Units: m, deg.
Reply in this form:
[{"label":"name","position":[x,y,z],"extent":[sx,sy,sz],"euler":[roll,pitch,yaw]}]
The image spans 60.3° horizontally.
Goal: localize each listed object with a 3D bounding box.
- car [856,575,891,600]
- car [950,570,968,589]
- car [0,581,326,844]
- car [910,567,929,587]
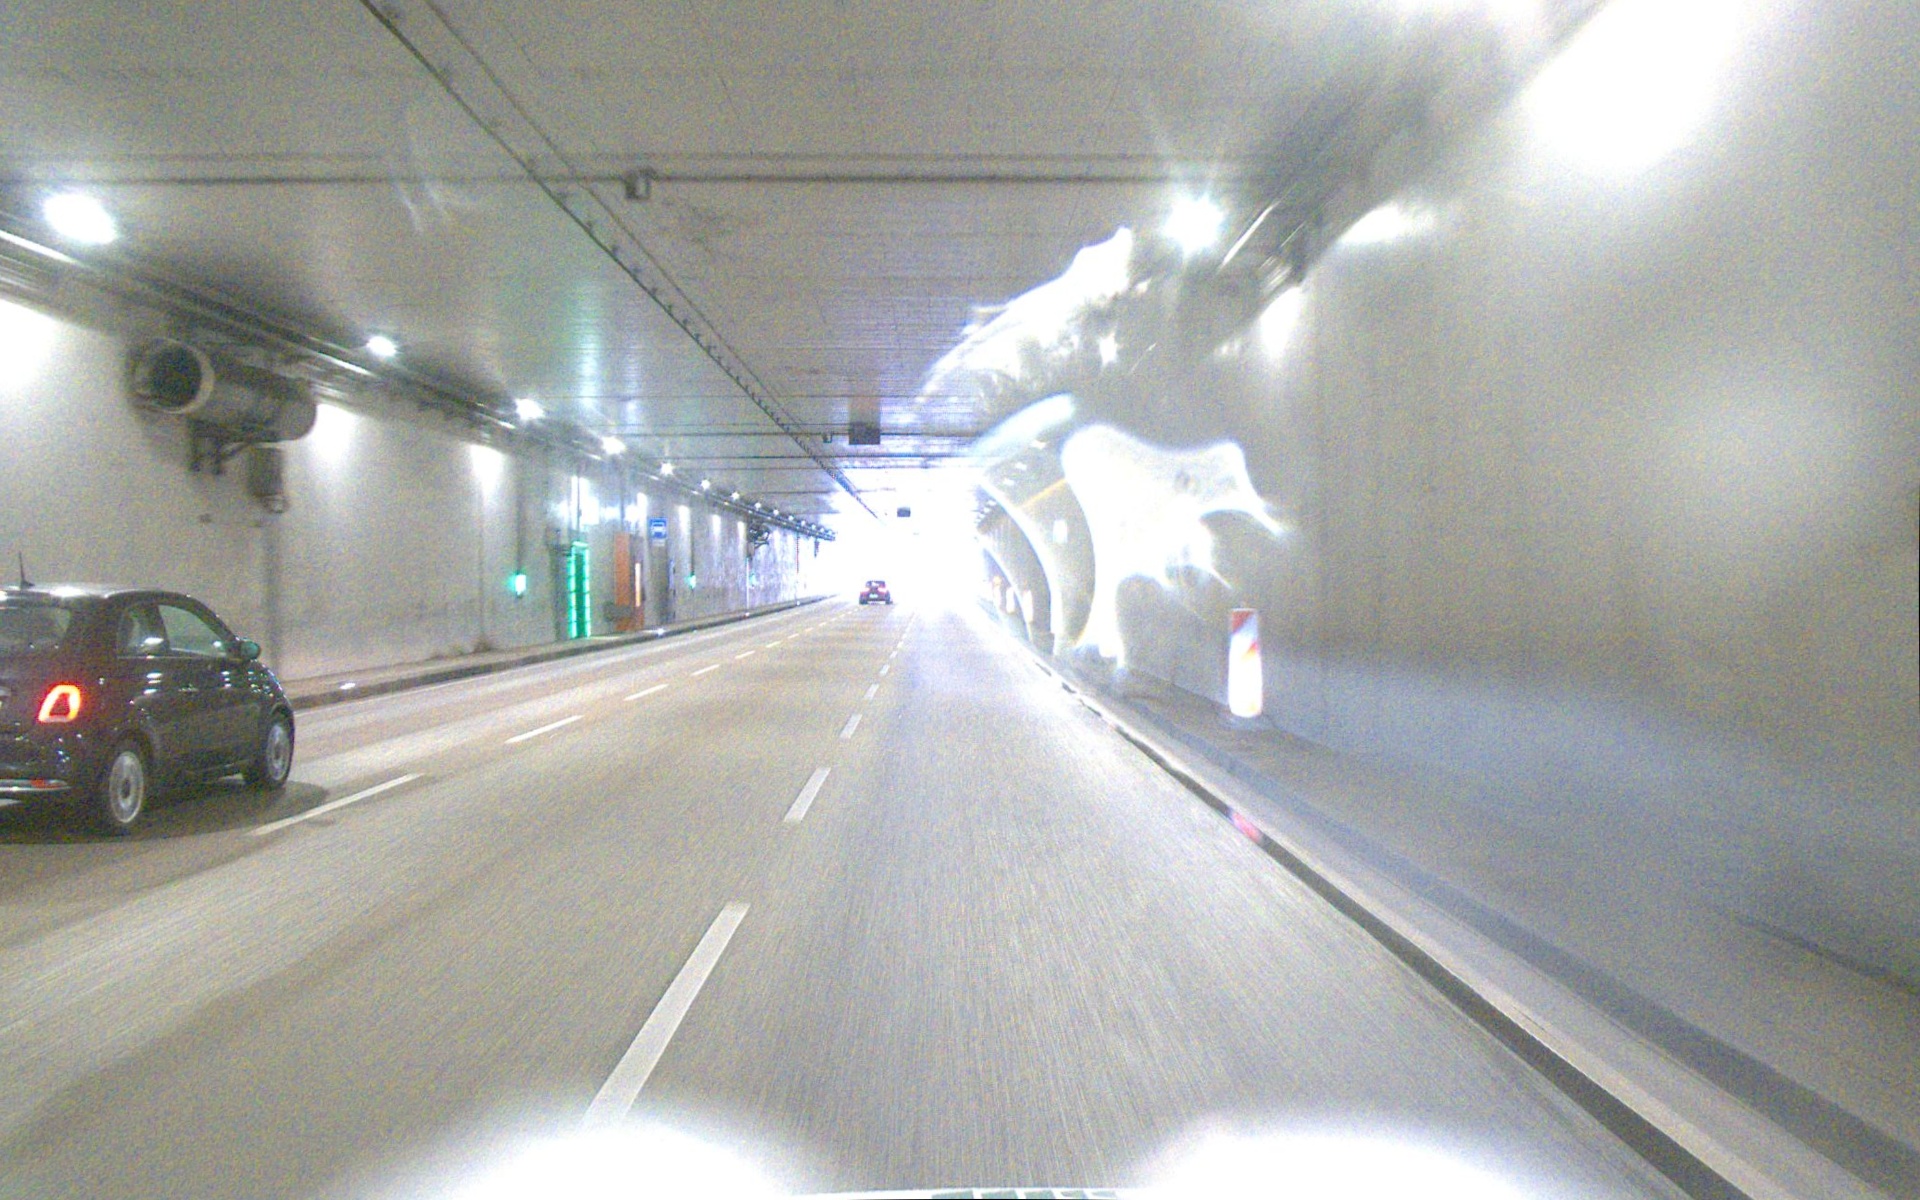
[{"label":"car","position":[-5.251,-0.743,99.778],"extent":[1.954,1.473,4.310],"euler":[1,0,-5]},{"label":"car","position":[-0.081,-2.303,183.996],"extent":[1.953,2.049,3.999],"euler":[0,0,-1]},{"label":"car","position":[-5.665,0.616,11.102],"extent":[1.580,1.480,3.571],"euler":[0,1,-3]},{"label":"car","position":[-4.121,-2.325,169.343],"extent":[1.953,2.049,3.999],"euler":[0,0,-1]}]
